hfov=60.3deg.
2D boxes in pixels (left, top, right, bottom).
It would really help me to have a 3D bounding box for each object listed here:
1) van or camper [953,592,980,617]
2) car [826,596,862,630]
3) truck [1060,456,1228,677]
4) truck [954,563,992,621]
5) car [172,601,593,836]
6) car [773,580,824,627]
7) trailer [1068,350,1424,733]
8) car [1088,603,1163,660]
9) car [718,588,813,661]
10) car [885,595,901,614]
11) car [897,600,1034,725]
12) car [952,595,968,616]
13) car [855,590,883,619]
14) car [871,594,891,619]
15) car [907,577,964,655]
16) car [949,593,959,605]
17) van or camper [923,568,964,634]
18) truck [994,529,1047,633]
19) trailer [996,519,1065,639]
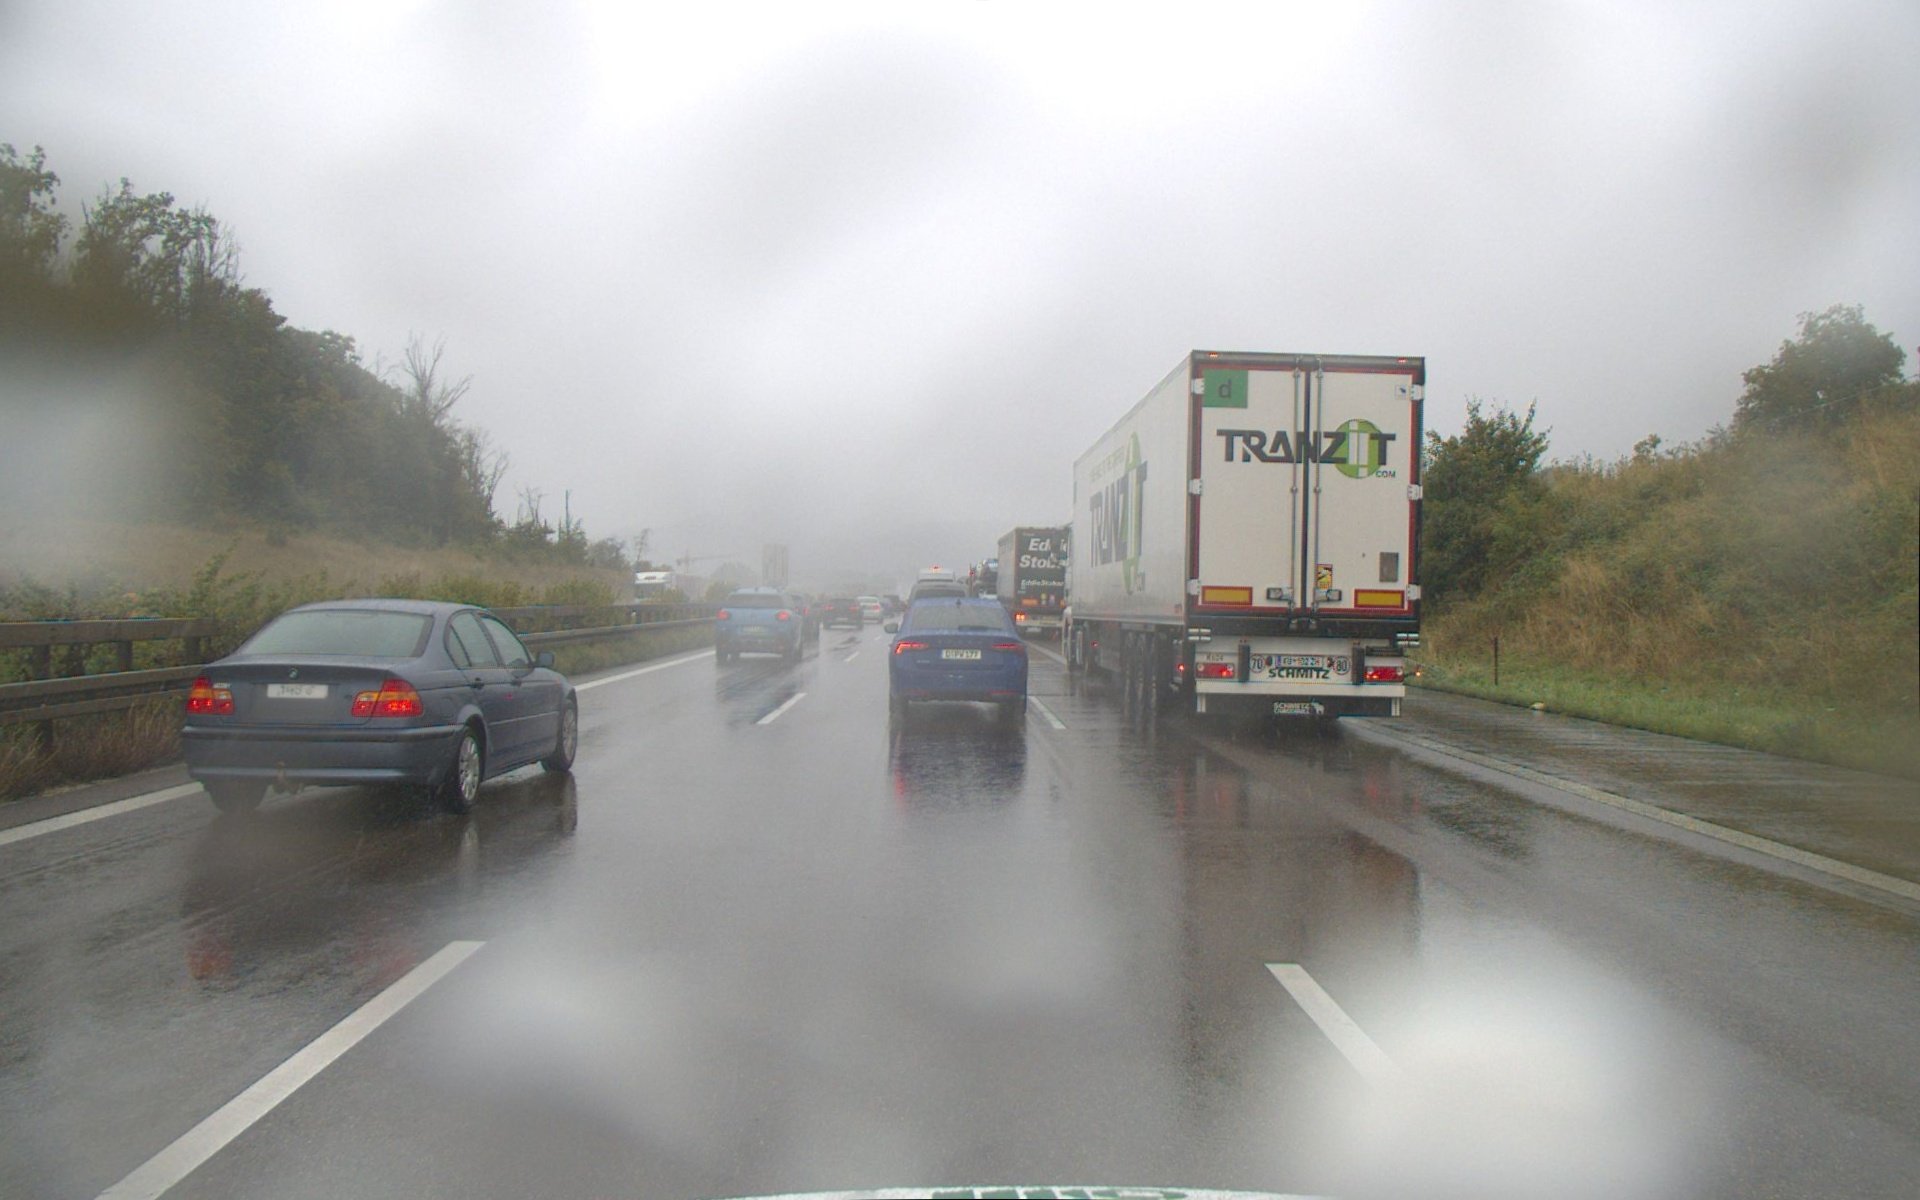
[{"bbox_3d":[0.450,0.271,114.351,1.736,1.653,4.483,0,1,-1],"label":"van or camper"},{"bbox_3d":[-5.174,0.551,73.833,1.410,1.445,3.321,0,0,-1],"label":"car"},{"bbox_3d":[3.413,-0.601,31.713,2.577,3.894,4.790,0,0,-1],"label":"truck"},{"bbox_3d":[0.780,-0.533,104.613,1.953,3.481,8.029,0,1,-2],"label":"truck"},{"bbox_3d":[-3.997,0.726,12.237,1.683,1.424,4.229,0,0,-1],"label":"car"},{"bbox_3d":[-5.078,0.093,52.357,1.331,1.456,3.363,0,0,-1],"label":"car"},{"bbox_3d":[3.550,-0.667,25.042,2.577,4.083,14.626,0,0,-1],"label":"trailer"},{"bbox_3d":[3.992,0.739,40.289,1.395,1.310,3.460,0,0,-1],"label":"car"},{"bbox_3d":[-4.368,0.531,37.665,1.686,1.550,4.000,0,0,0],"label":"car"},{"bbox_3d":[-6.434,0.413,158.776,1.419,1.815,3.408,1,0,-1],"label":"car"},{"bbox_3d":[0.059,0.737,21.529,1.602,1.470,4.000,0,0,0],"label":"car"},{"bbox_3d":[-0.017,0.513,152.828,1.419,1.815,3.408,1,0,-1],"label":"car"},{"bbox_3d":[-5.025,0.238,91.696,1.410,1.560,3.321,0,0,-1],"label":"car"},{"bbox_3d":[-5.925,0.458,124.048,1.419,1.815,3.408,1,0,-1],"label":"car"},{"bbox_3d":[-0.603,0.359,40.283,1.309,1.811,3.321,0,0,-1],"label":"car"},{"bbox_3d":[-0.861,-0.142,240.023,1.419,1.815,3.408,1,0,-1],"label":"car"},{"bbox_3d":[-0.740,0.035,73.635,1.761,2.855,4.767,0,0,-1],"label":"van or camper"},{"bbox_3d":[2.543,-0.778,70.229,2.005,4.266,3.999,0,0,-1],"label":"truck"},{"bbox_3d":[2.627,-0.763,64.447,2.005,4.250,11.445,0,0,-1],"label":"trailer"}]
